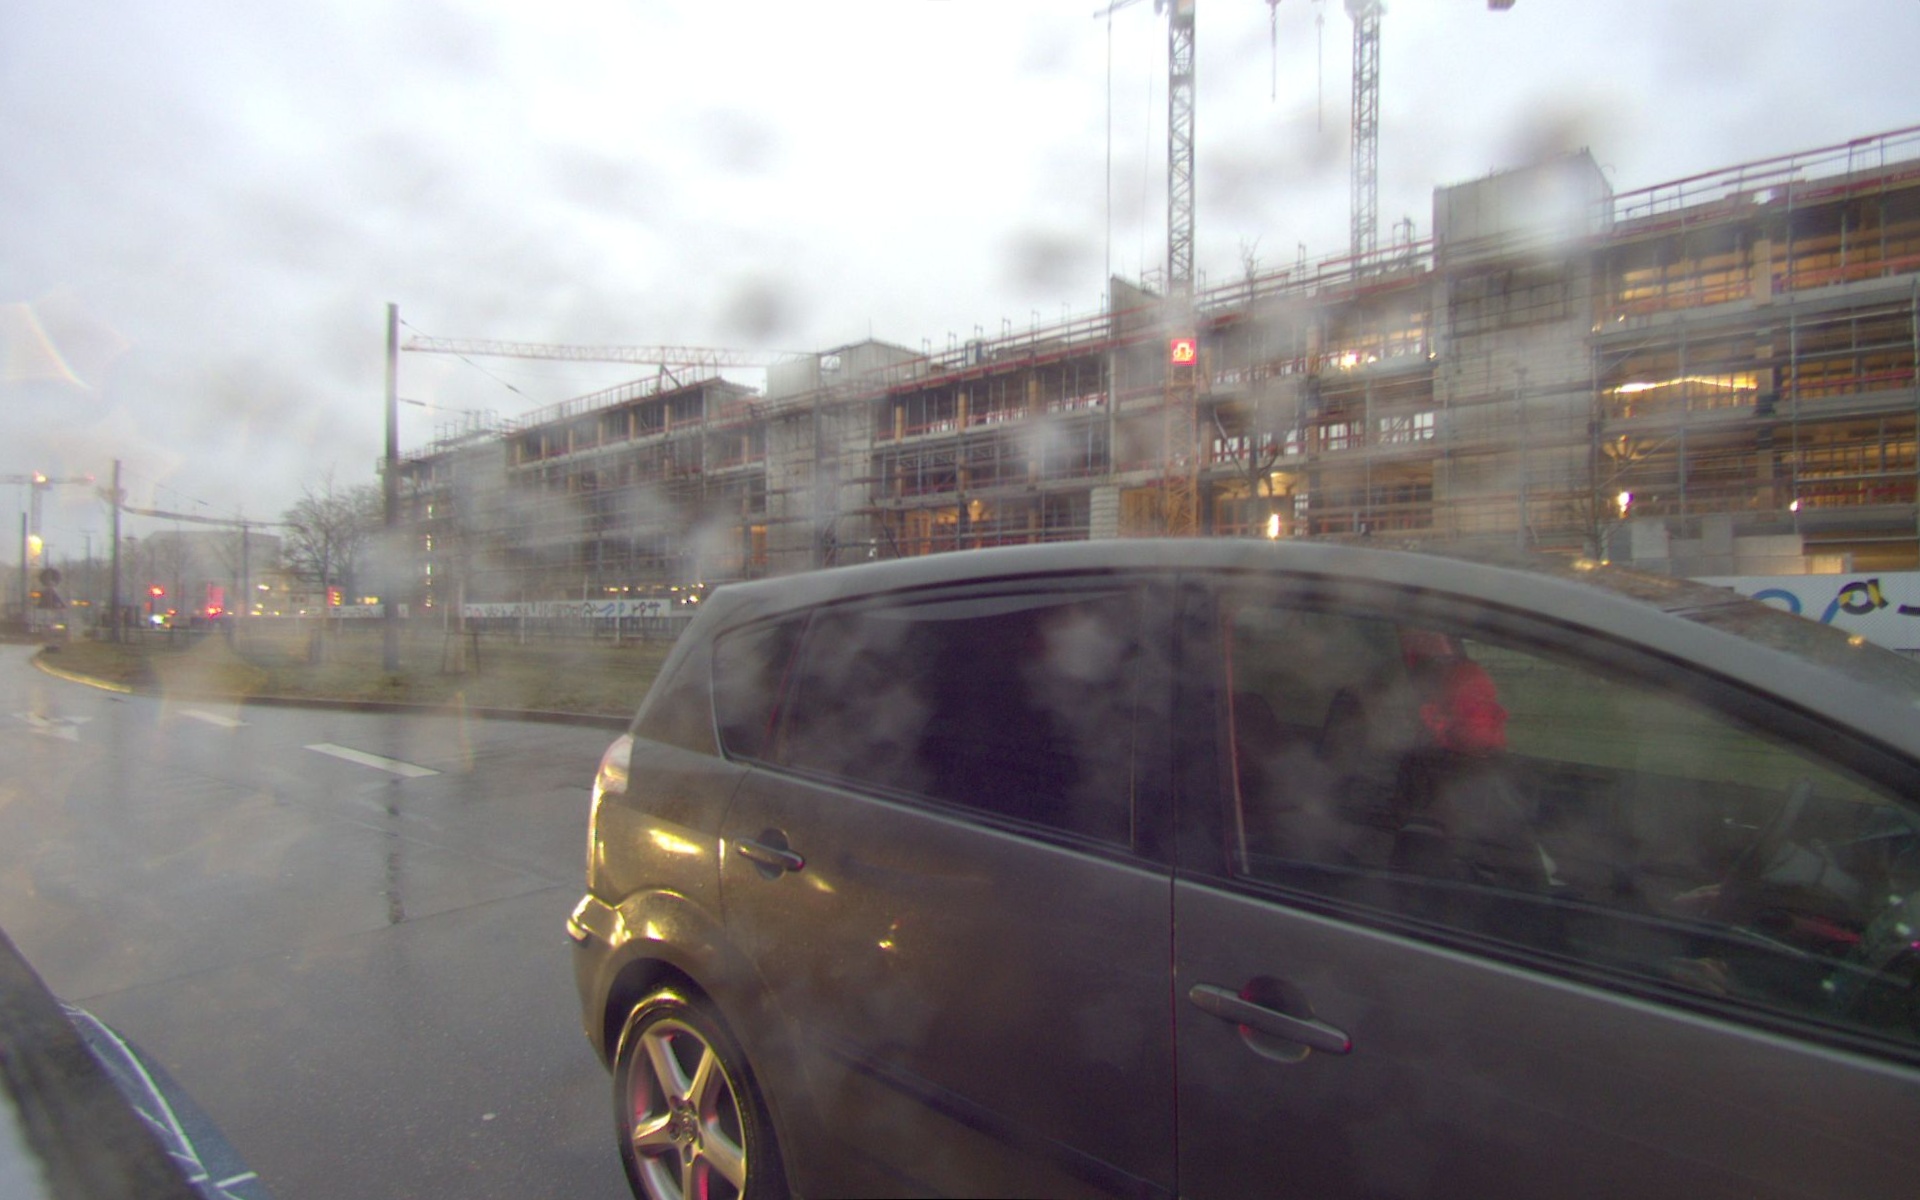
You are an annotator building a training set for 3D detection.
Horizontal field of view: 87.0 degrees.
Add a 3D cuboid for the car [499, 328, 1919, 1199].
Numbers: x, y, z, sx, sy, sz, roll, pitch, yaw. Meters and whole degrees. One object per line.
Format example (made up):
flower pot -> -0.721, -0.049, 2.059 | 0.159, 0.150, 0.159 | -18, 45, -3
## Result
car -> 1.021, 0.603, 1.879 | 4.131, 1.659, 1.793 | -1, -1, 39
